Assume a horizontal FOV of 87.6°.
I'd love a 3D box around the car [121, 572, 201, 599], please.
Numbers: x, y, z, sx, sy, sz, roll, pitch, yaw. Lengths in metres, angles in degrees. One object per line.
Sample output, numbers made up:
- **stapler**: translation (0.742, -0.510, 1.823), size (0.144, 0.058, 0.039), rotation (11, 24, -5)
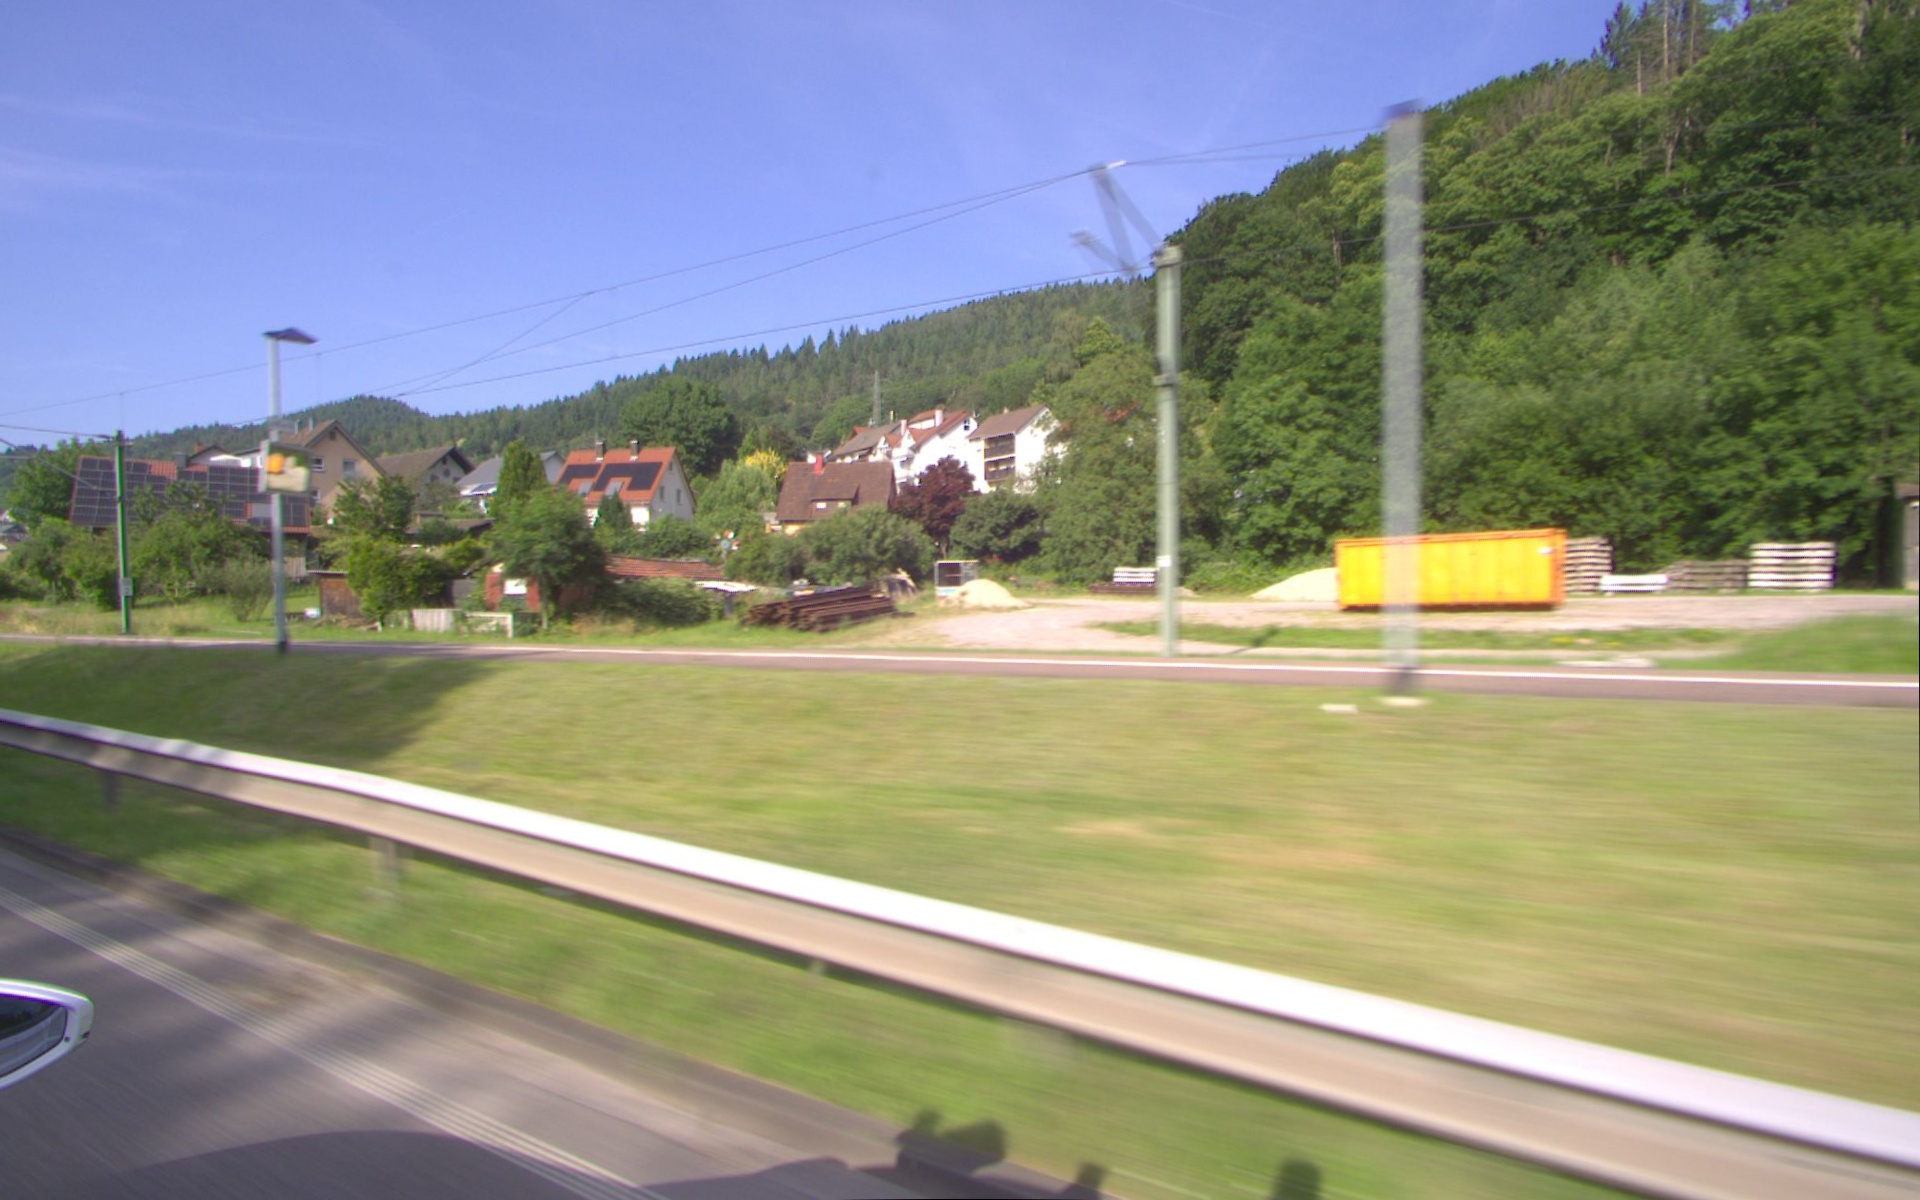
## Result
- **car**: translation (-52.020, -0.942, 65.226), size (3.956, 1.706, 1.982), rotation (-2, 1, -41)
